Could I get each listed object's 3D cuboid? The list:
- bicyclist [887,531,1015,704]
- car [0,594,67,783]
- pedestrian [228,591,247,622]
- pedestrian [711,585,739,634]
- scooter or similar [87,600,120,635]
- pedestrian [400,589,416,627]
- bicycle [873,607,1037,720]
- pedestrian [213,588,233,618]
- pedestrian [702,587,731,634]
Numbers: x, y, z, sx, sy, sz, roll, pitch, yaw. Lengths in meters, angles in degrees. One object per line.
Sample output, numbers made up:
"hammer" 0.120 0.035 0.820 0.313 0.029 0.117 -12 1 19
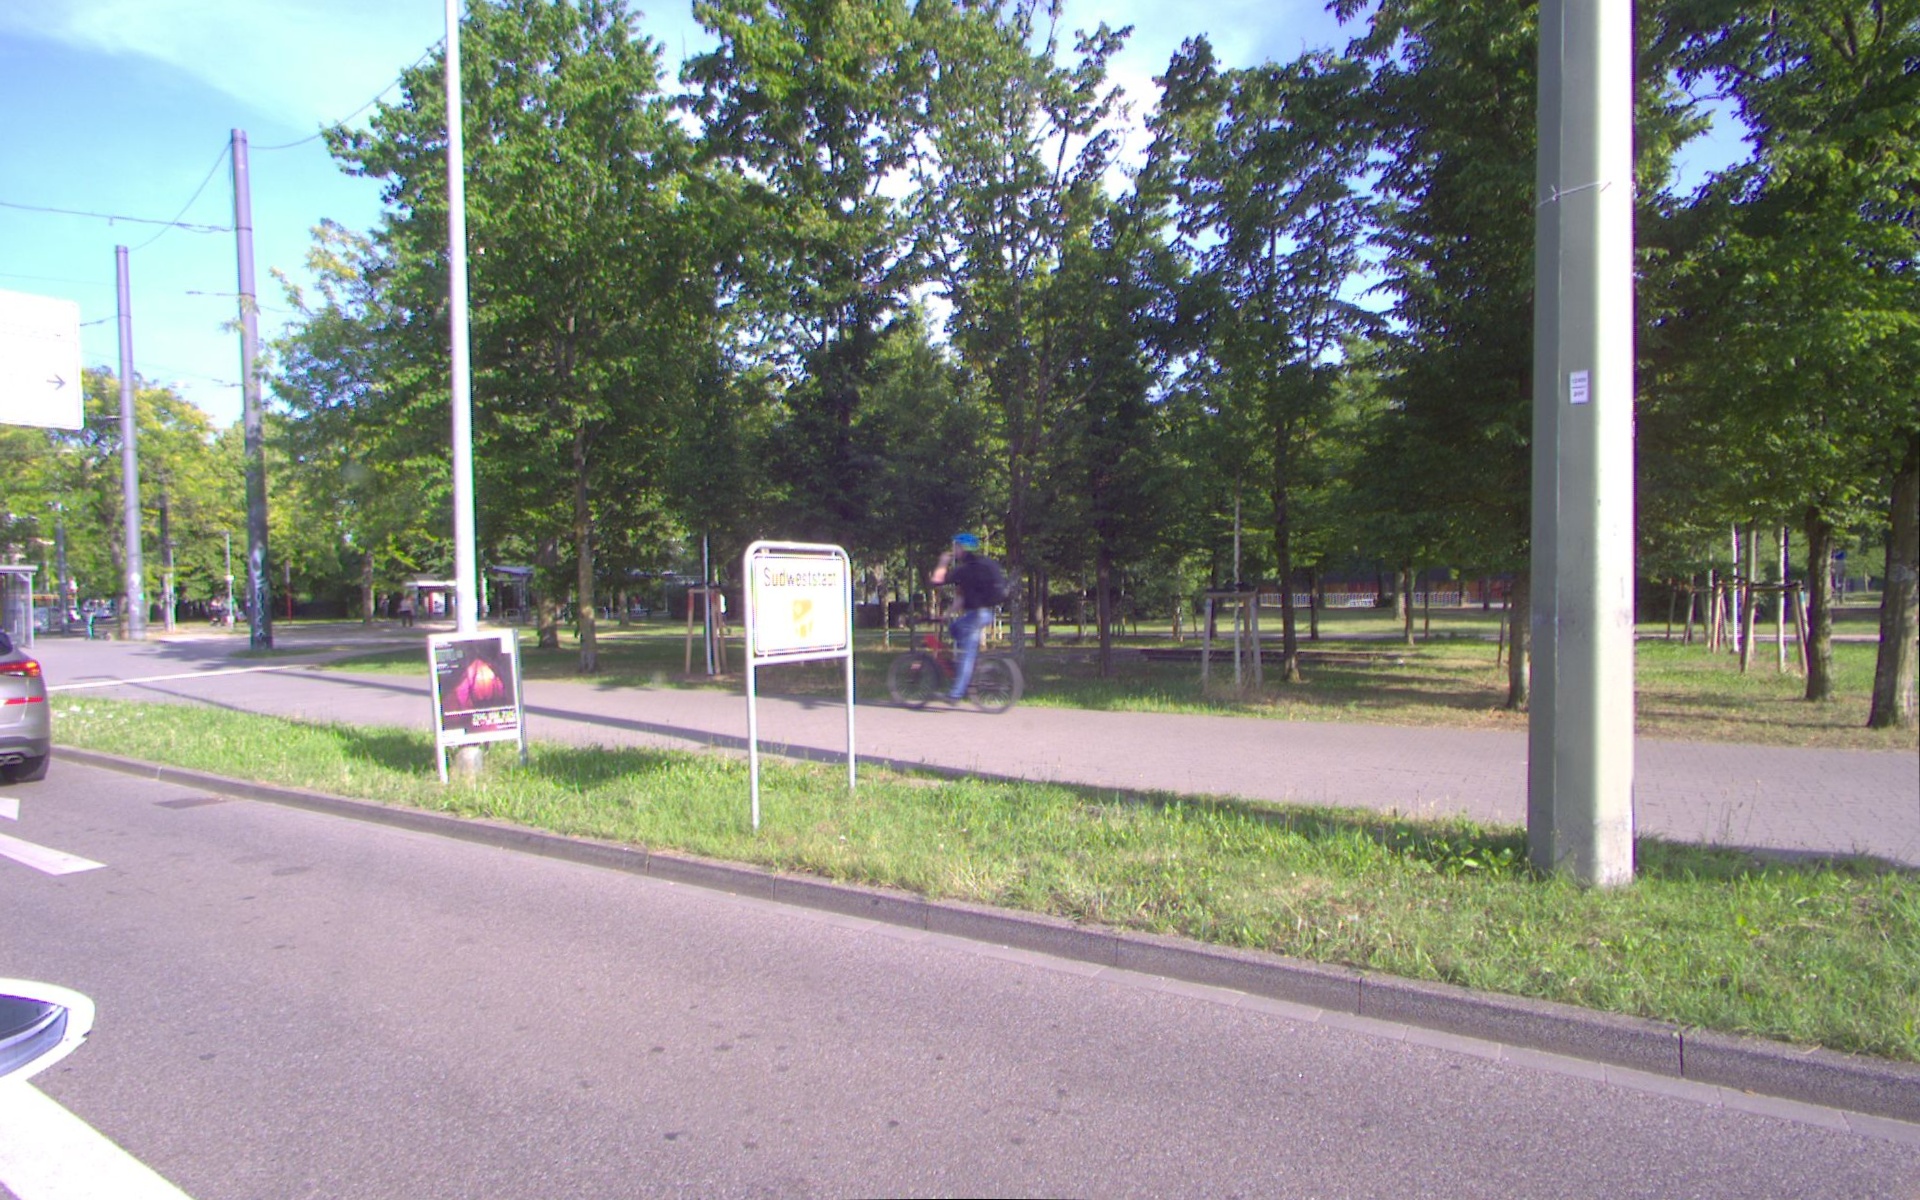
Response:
"bicyclist" -0.097 0.167 10.853 1.125 1.770 0.717 0 4 36
"car" -10.066 0.771 9.197 3.760 1.621 1.832 0 -1 32
"pedestrian" -39.802 0.354 55.167 0.681 1.688 0.639 0 1 32
"pedestrian" -9.435 0.393 40.155 0.868 1.922 0.670 0 -1 33
"scooter or similar" -31.437 0.639 36.745 1.115 1.248 0.351 0 1 18
"pedestrian" -27.687 0.408 50.233 0.594 1.891 0.462 0 -1 -8
"bicycle" -0.069 0.652 10.851 1.711 1.103 0.638 0 3 36
"pedestrian" -40.916 0.172 55.569 0.681 1.688 0.639 0 1 32
"pedestrian" -9.585 0.415 39.427 0.867 1.800 0.670 0 -1 33
